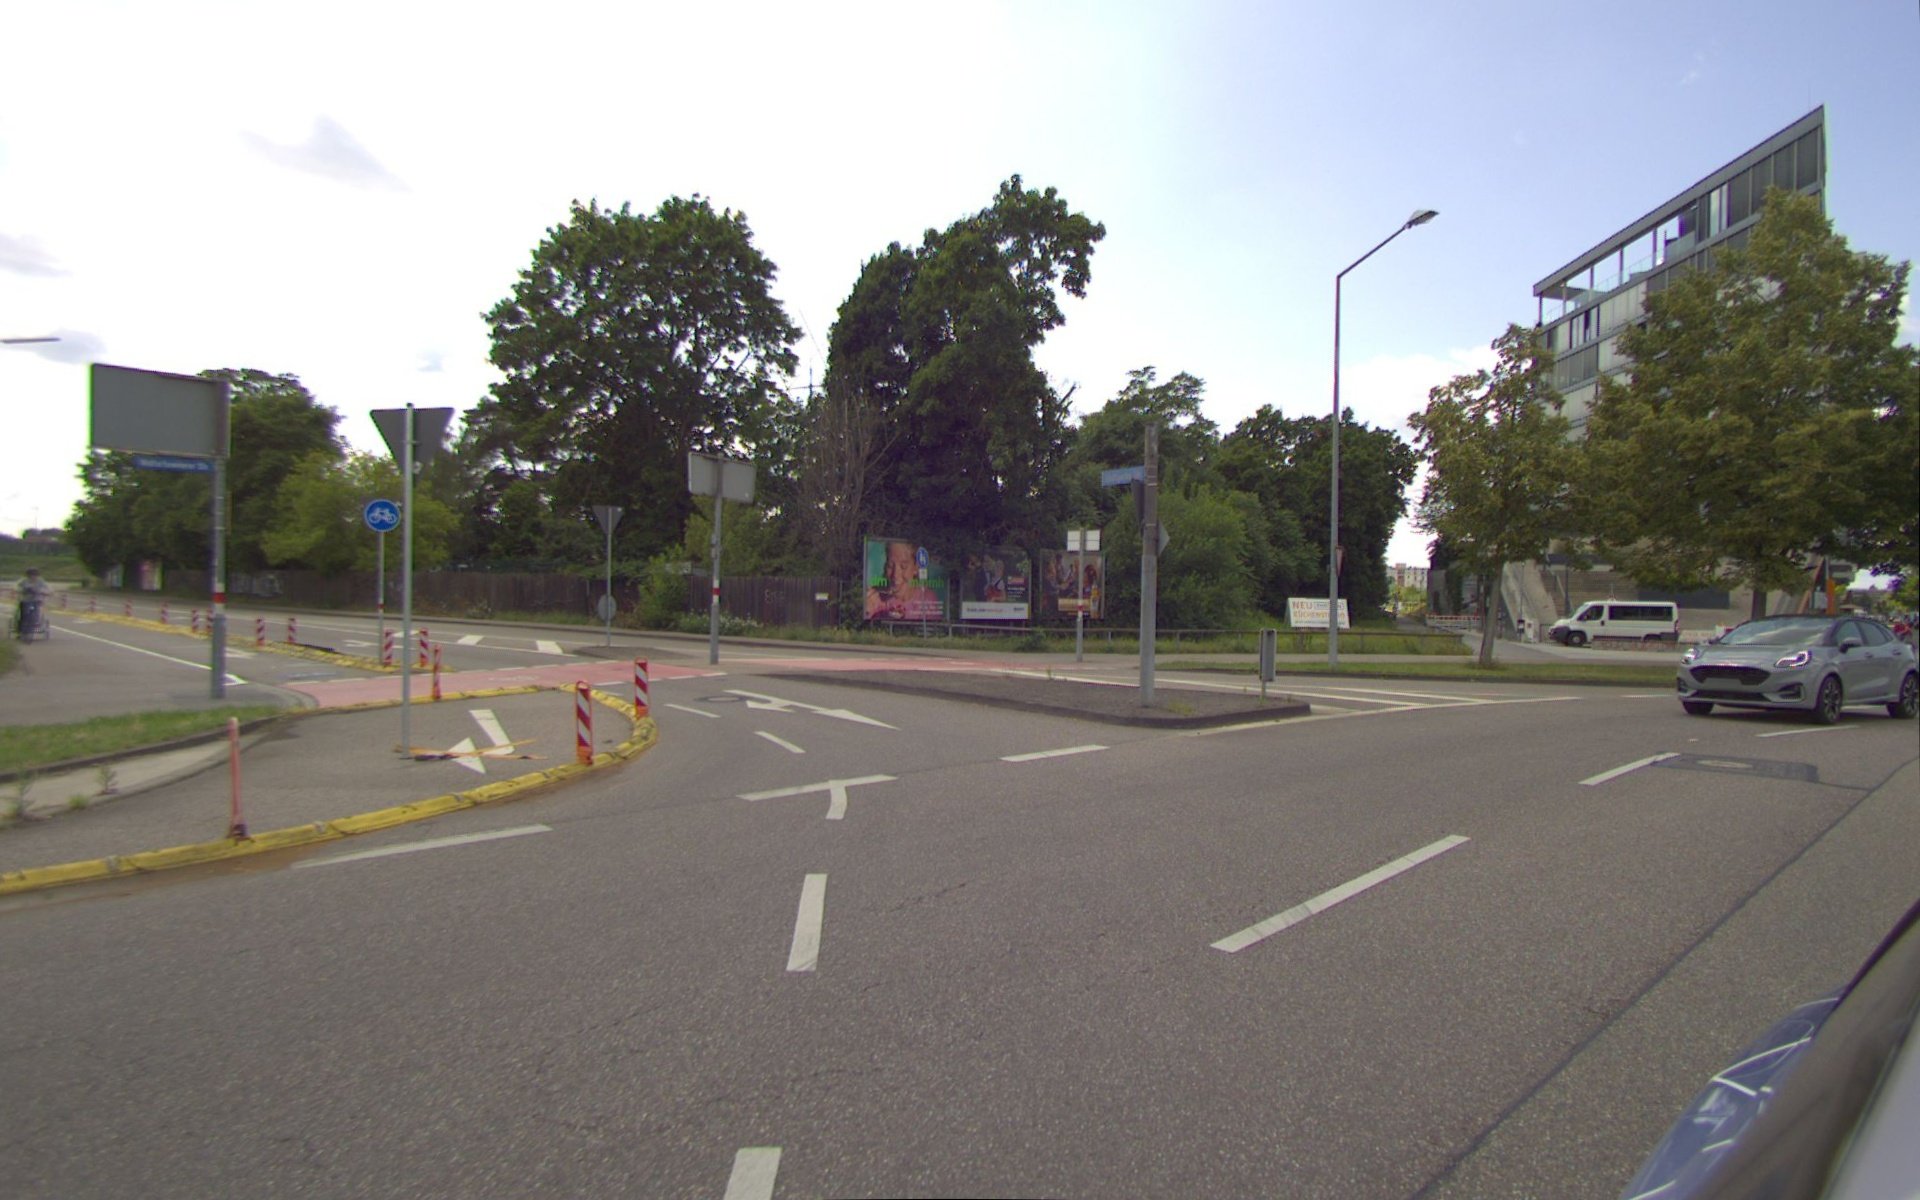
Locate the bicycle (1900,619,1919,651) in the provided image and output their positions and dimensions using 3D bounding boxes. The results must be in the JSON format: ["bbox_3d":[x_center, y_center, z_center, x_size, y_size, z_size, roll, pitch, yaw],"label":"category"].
[{"bbox_3d":[38.694,1.414,40.927,0.809,1.260,2.376,1,0,39],"label":"bicycle"}]

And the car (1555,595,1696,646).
[{"bbox_3d":[30.672,0.907,46.862,5.093,2.175,2.132,1,-1,23],"label":"car"}]

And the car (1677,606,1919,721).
[{"bbox_3d":[12.684,0.862,14.972,4.008,1.490,1.678,1,0,-26],"label":"car"}]

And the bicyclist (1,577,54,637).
[{"bbox_3d":[-21.529,0.172,23.387,0.861,1.342,0.811,1,-2,-42],"label":"bicyclist"}]

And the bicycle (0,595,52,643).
[{"bbox_3d":[-21.463,0.442,23.239,0.861,1.030,2.538,1,-2,-43],"label":"bicycle"}]

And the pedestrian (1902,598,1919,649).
[{"bbox_3d":[38.867,0.939,41.179,0.752,2.039,1.213,0,-1,41],"label":"pedestrian"}]
